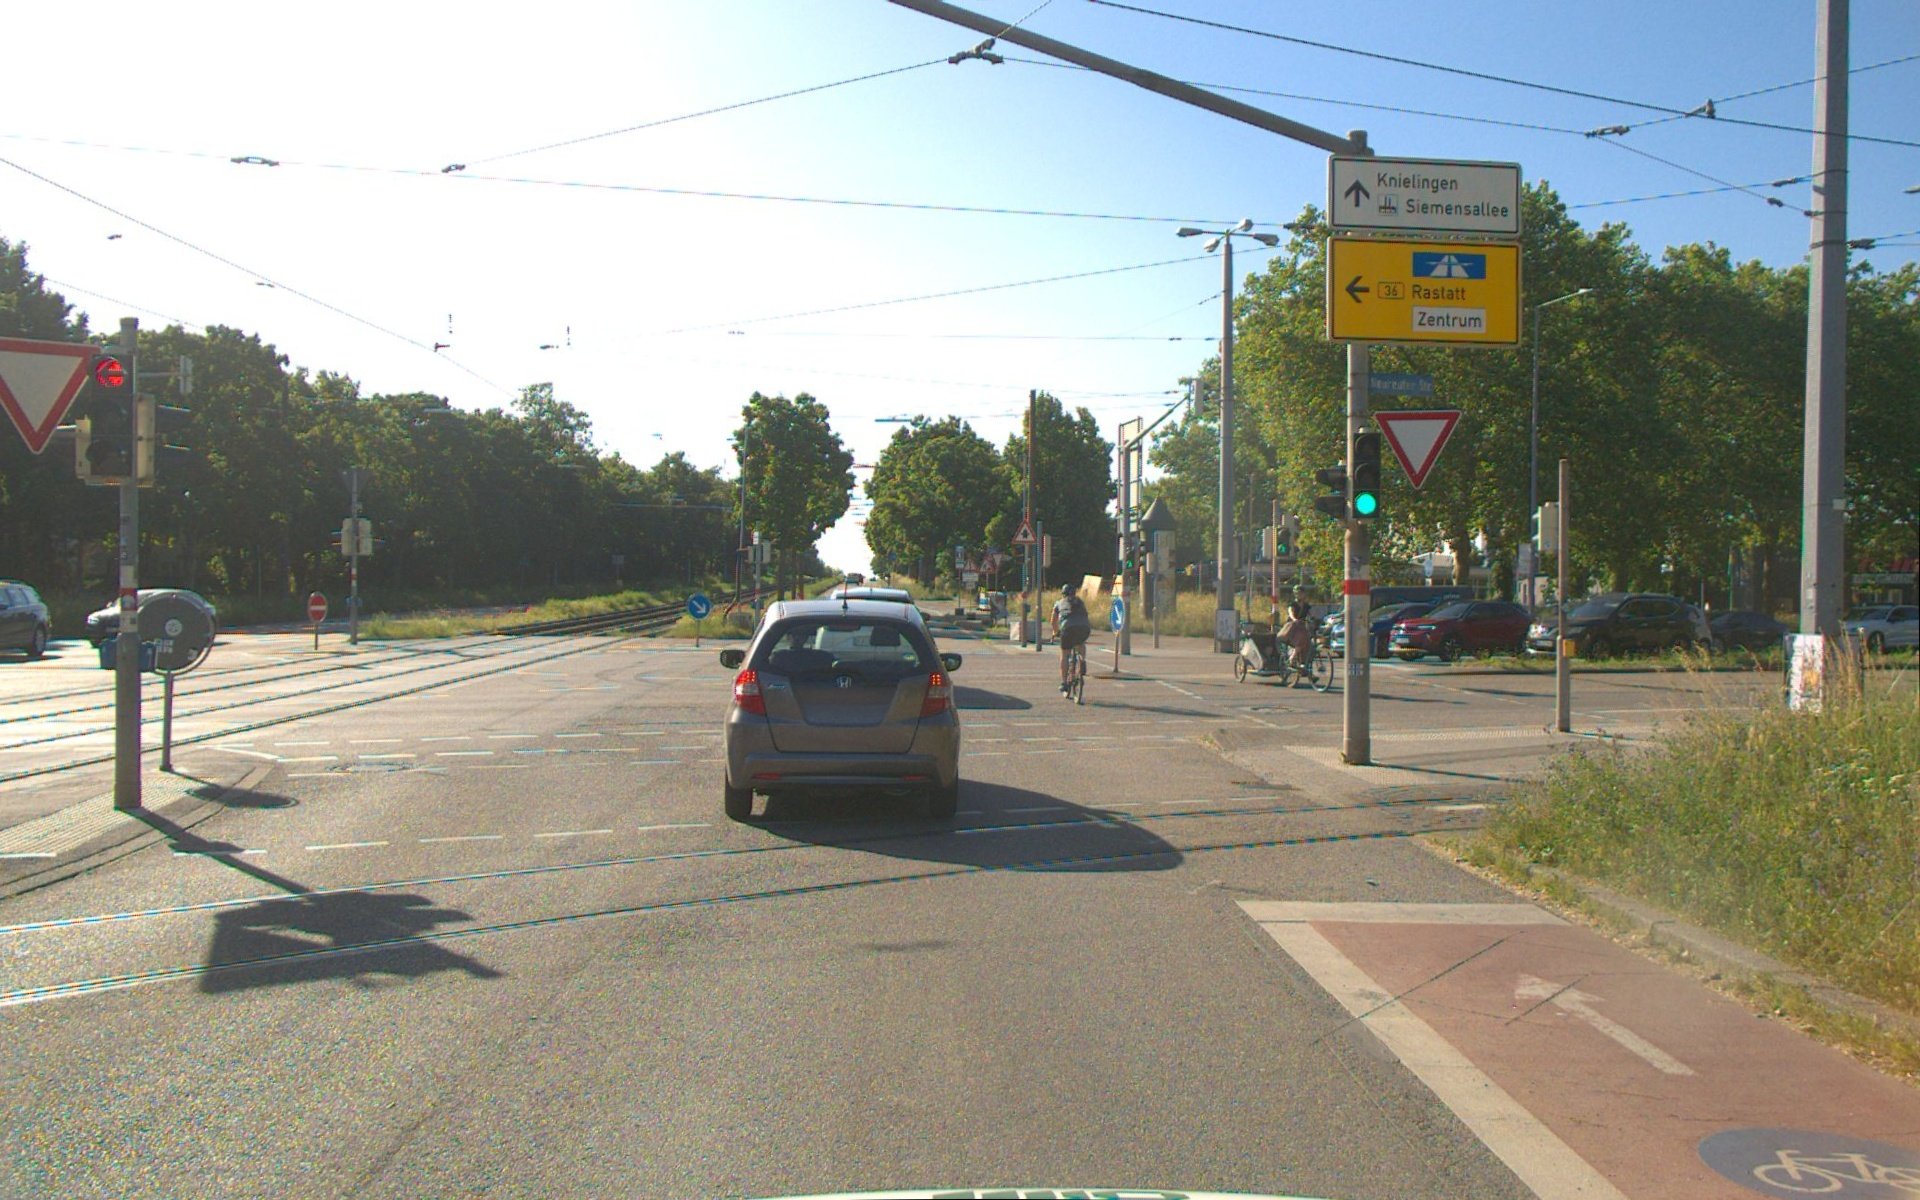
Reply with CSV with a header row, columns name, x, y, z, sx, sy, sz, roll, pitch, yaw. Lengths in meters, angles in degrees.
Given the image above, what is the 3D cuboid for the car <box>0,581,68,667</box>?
name,x,y,z,sx,sy,sz,roll,pitch,yaw
car,-19.192,0.453,31.940,1.778,1.624,4.687,0,0,-6

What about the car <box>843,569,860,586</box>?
name,x,y,z,sx,sy,sz,roll,pitch,yaw
car,-13.709,-2.825,208.740,1.953,2.049,3.998,0,0,-2

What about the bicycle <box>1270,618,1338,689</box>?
name,x,y,z,sx,sy,sz,roll,pitch,yaw
bicycle,5.830,0.889,28.116,0.458,1.138,1.815,0,0,-12

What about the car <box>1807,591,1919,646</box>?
name,x,y,z,sx,sy,sz,roll,pitch,yaw
car,30.413,0.633,54.826,4.707,1.711,1.891,2,-1,-29

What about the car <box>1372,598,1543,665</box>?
name,x,y,z,sx,sy,sz,roll,pitch,yaw
car,12.625,0.763,41.924,4.026,1.628,1.801,0,0,-26

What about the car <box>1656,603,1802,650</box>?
name,x,y,z,sx,sy,sz,roll,pitch,yaw
car,24.107,0.801,51.837,4.505,1.432,1.916,0,0,-29

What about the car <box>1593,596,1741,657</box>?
name,x,y,z,sx,sy,sz,roll,pitch,yaw
car,19.523,0.698,45.667,3.799,1.628,1.699,0,0,-26

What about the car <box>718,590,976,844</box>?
name,x,y,z,sx,sy,sz,roll,pitch,yaw
car,-0.789,0.759,12.680,1.637,1.541,3.673,2,1,-2

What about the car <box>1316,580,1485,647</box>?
name,x,y,z,sx,sy,sz,roll,pitch,yaw
car,14.162,0.419,53.402,4.995,2.106,2.132,0,0,5

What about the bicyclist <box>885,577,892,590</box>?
name,x,y,z,sx,sy,sz,roll,pitch,yaw
bicyclist,-8.284,-1.910,191.194,0.801,1.551,0.965,1,-1,-2

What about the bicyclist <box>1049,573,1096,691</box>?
name,x,y,z,sx,sy,sz,roll,pitch,yaw
bicyclist,1.652,0.462,24.402,0.603,1.709,0.933,0,0,-2

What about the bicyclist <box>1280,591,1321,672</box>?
name,x,y,z,sx,sy,sz,roll,pitch,yaw
bicyclist,5.780,0.534,28.093,0.500,1.364,0.563,0,0,-12

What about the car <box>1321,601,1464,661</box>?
name,x,y,z,sx,sy,sz,roll,pitch,yaw
car,12.055,0.839,46.076,3.806,1.628,1.696,0,0,-30

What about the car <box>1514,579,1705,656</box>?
name,x,y,z,sx,sy,sz,roll,pitch,yaw
car,15.527,0.395,39.513,4.431,1.741,1.902,0,0,-29

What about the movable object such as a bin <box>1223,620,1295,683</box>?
name,x,y,z,sx,sy,sz,roll,pitch,yaw
movable object such as a bin,5.353,0.910,29.661,0.892,1.087,1.314,0,0,-10

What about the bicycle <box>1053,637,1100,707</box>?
name,x,y,z,sx,sy,sz,roll,pitch,yaw
bicycle,1.701,1.033,24.277,0.513,0.939,2.089,0,0,-1

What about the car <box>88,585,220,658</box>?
name,x,y,z,sx,sy,sz,roll,pitch,yaw
car,-19.915,0.511,41.045,1.757,1.717,3.994,0,0,-8

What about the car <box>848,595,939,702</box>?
name,x,y,z,sx,sy,sz,roll,pitch,yaw
car,-1.022,0.706,25.679,1.324,1.554,3.122,0,0,-2

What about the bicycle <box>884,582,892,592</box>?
name,x,y,z,sx,sy,sz,roll,pitch,yaw
bicycle,-8.300,-1.532,191.168,0.801,1.066,2.505,1,-1,-2
